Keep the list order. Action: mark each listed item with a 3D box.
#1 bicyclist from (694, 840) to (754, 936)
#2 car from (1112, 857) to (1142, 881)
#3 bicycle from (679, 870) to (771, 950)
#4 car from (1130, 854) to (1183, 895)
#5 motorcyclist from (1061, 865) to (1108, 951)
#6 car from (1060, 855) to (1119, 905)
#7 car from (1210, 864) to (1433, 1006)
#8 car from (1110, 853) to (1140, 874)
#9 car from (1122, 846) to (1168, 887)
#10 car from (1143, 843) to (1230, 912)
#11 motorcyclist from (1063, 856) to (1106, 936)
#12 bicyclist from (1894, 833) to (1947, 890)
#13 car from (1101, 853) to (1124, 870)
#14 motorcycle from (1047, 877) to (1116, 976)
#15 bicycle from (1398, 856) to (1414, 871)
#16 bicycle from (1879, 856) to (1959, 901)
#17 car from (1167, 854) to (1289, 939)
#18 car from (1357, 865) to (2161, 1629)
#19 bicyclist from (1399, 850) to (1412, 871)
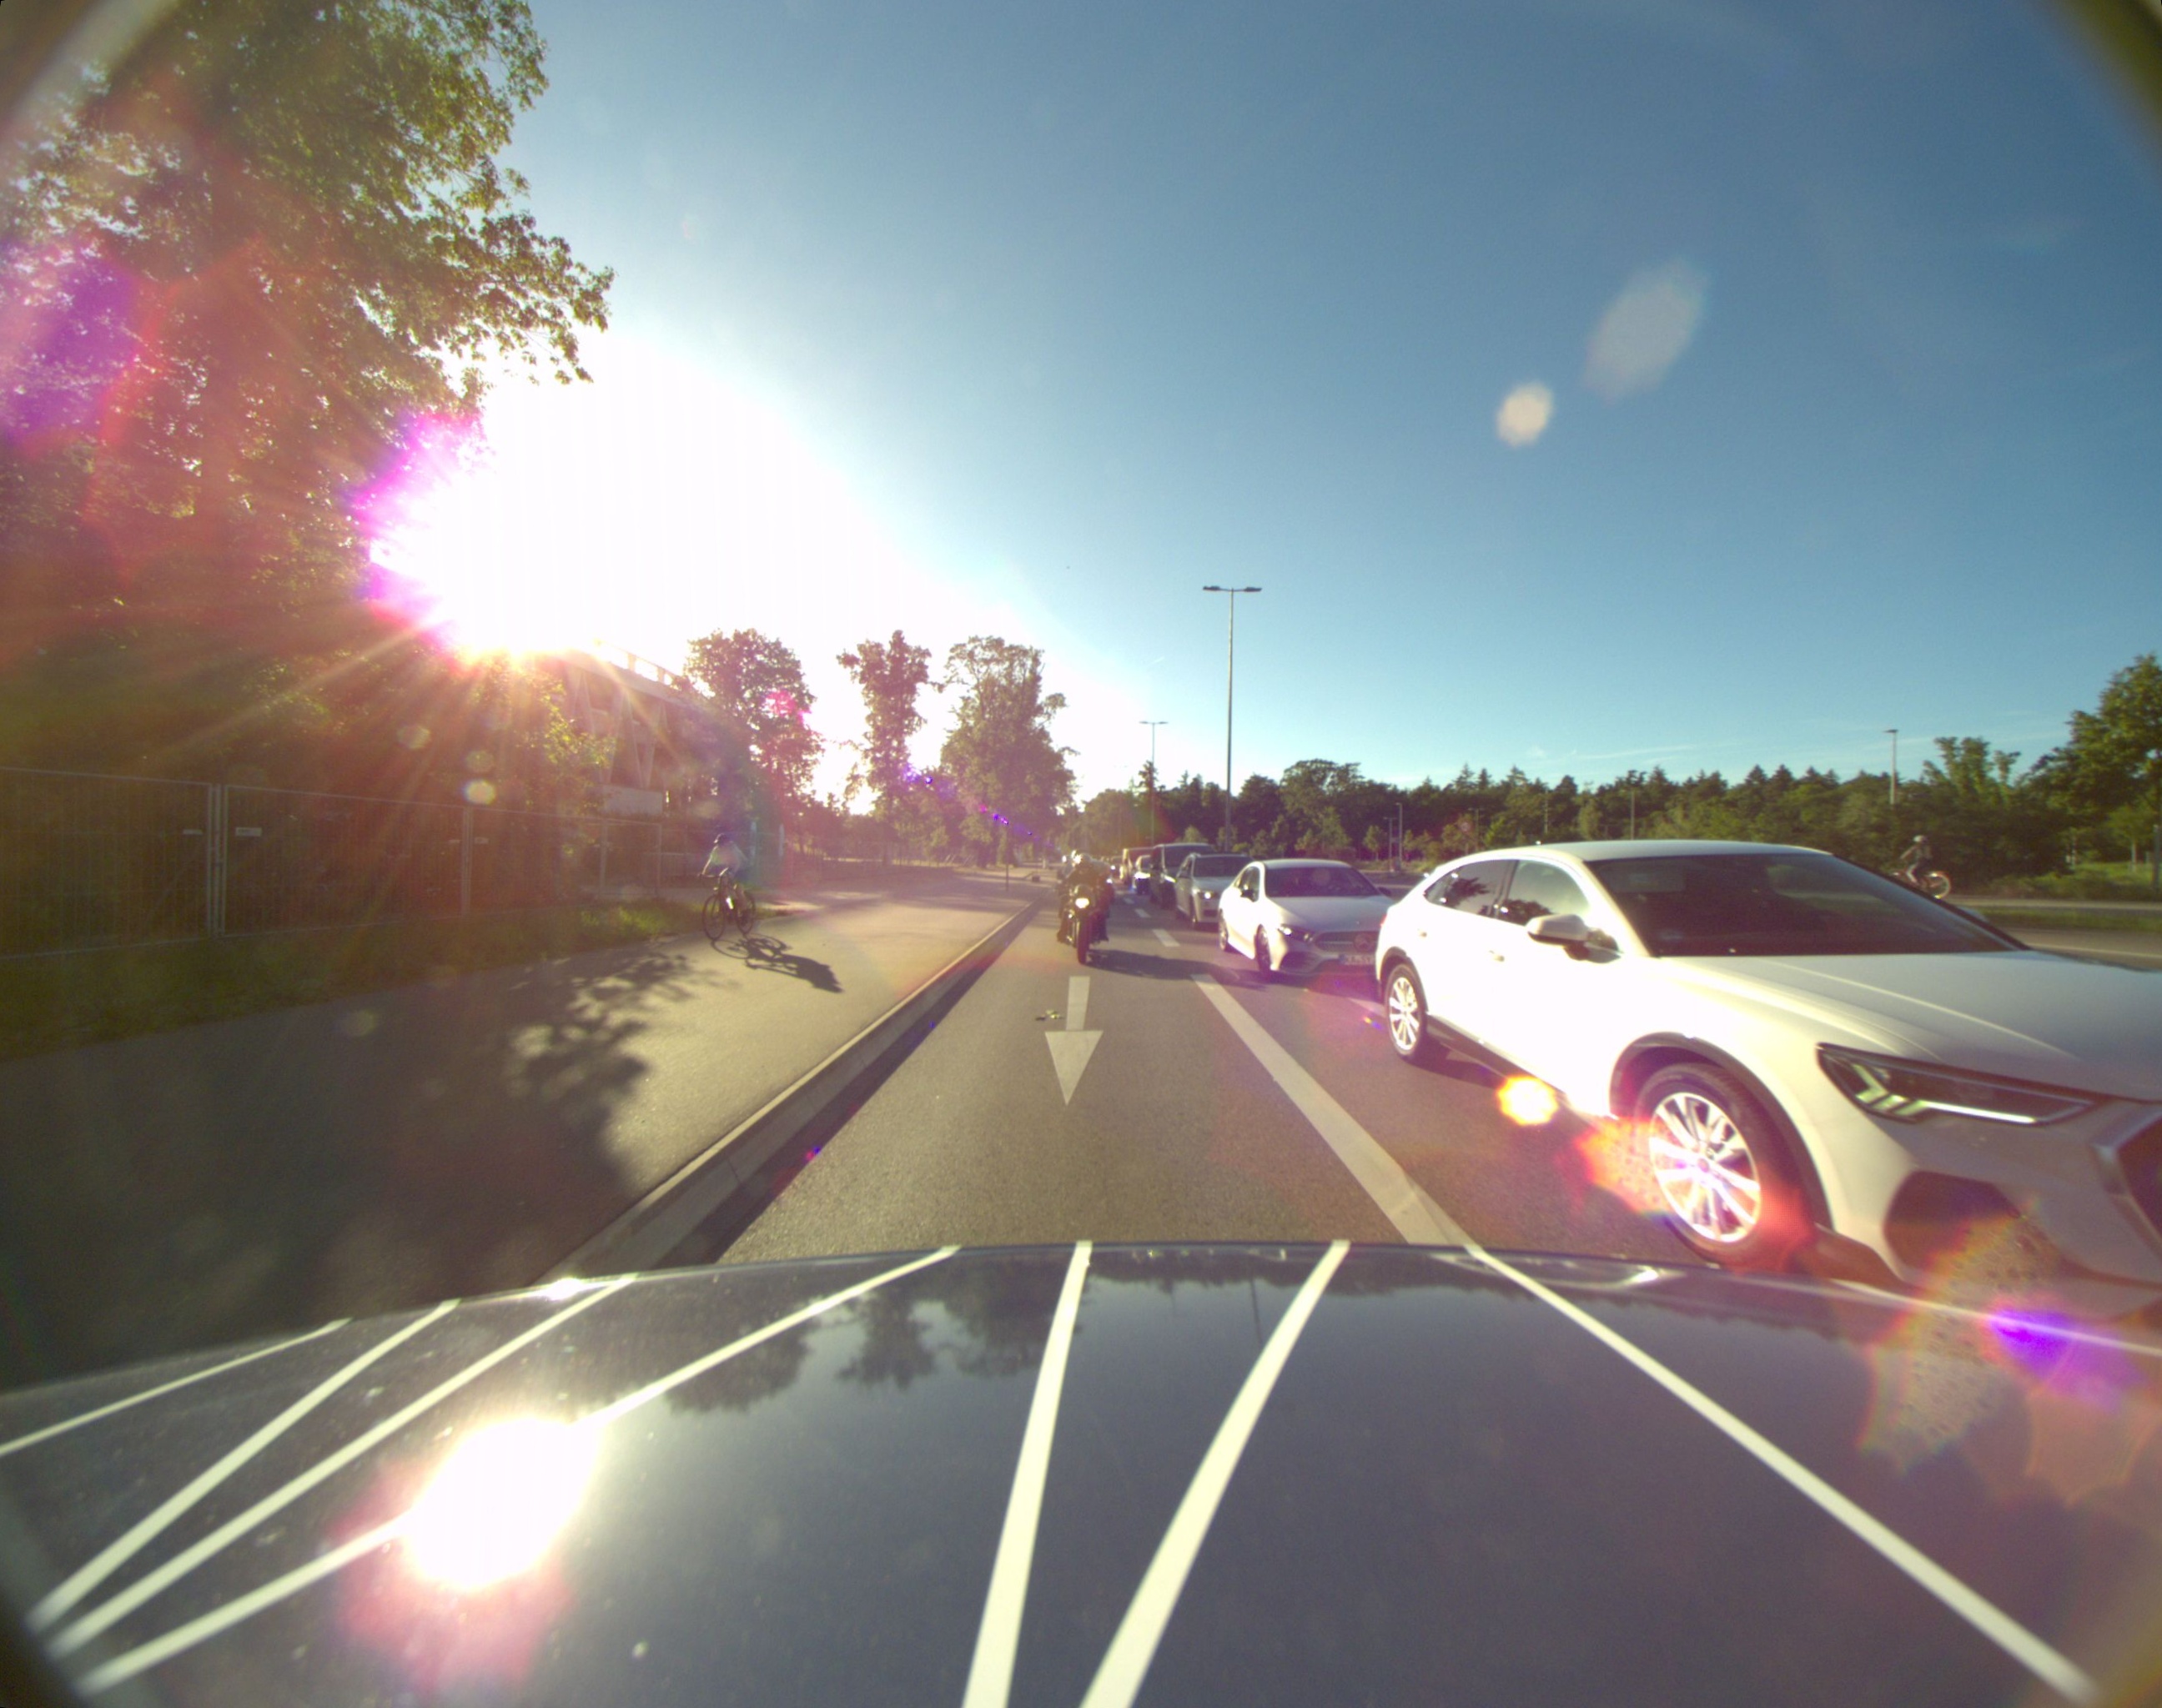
[{"bbox_3d":[-5.672,0.521,12.102,0.521,1.460,0.861,1,1,1],"label":"bicyclist"},{"bbox_3d":[2.985,0.964,50.154,1.605,1.389,4.639,-2,0,0],"label":"car"},{"bbox_3d":[-5.675,0.855,12.234,0.555,1.130,1.864,1,1,1],"label":"bicycle"},{"bbox_3d":[3.075,0.798,31.540,1.736,1.560,4.103,-1,0,0],"label":"car"},{"bbox_3d":[0.054,0.812,11.789,0.671,1.257,0.826,-2,1,1],"label":"motorcyclist"},{"bbox_3d":[0.253,0.839,26.870,1.867,1.538,4.796,-1,0,0],"label":"car"},{"bbox_3d":[2.912,0.888,10.196,1.661,1.418,4.318,-1,0,1],"label":"car"},{"bbox_3d":[3.254,0.668,56.662,1.896,1.389,4.639,-2,0,0],"label":"car"},{"bbox_3d":[3.189,0.601,38.730,1.867,1.882,5.068,-2,0,0],"label":"car"},{"bbox_3d":[3.081,0.641,23.305,1.885,1.862,5.234,-1,0,0],"label":"car"},{"bbox_3d":[0.063,0.682,12.663,0.671,1.257,0.826,-2,1,1],"label":"motorcyclist"},{"bbox_3d":[24.267,0.205,21.974,0.682,1.602,0.800,-1,1,8],"label":"bicyclist"},{"bbox_3d":[2.898,0.638,70.939,1.896,1.479,4.639,-2,0,0],"label":"car"},{"bbox_3d":[0.030,1.028,11.841,0.916,1.243,2.962,-1,0,1],"label":"motorcycle"},{"bbox_3d":[22.839,0.646,53.414,0.584,1.013,1.362,-1,1,1],"label":"bicycle"},{"bbox_3d":[24.316,0.681,22.092,0.494,1.230,1.796,-1,1,7],"label":"bicycle"},{"bbox_3d":[3.030,0.801,16.558,1.797,1.574,4.320,-1,0,0],"label":"car"},{"bbox_3d":[3.039,0.854,3.725,1.838,1.504,4.300,-1,0,1],"label":"car"},{"bbox_3d":[22.763,0.457,53.275,0.593,1.405,0.800,-1,1,2],"label":"bicyclist"}]
